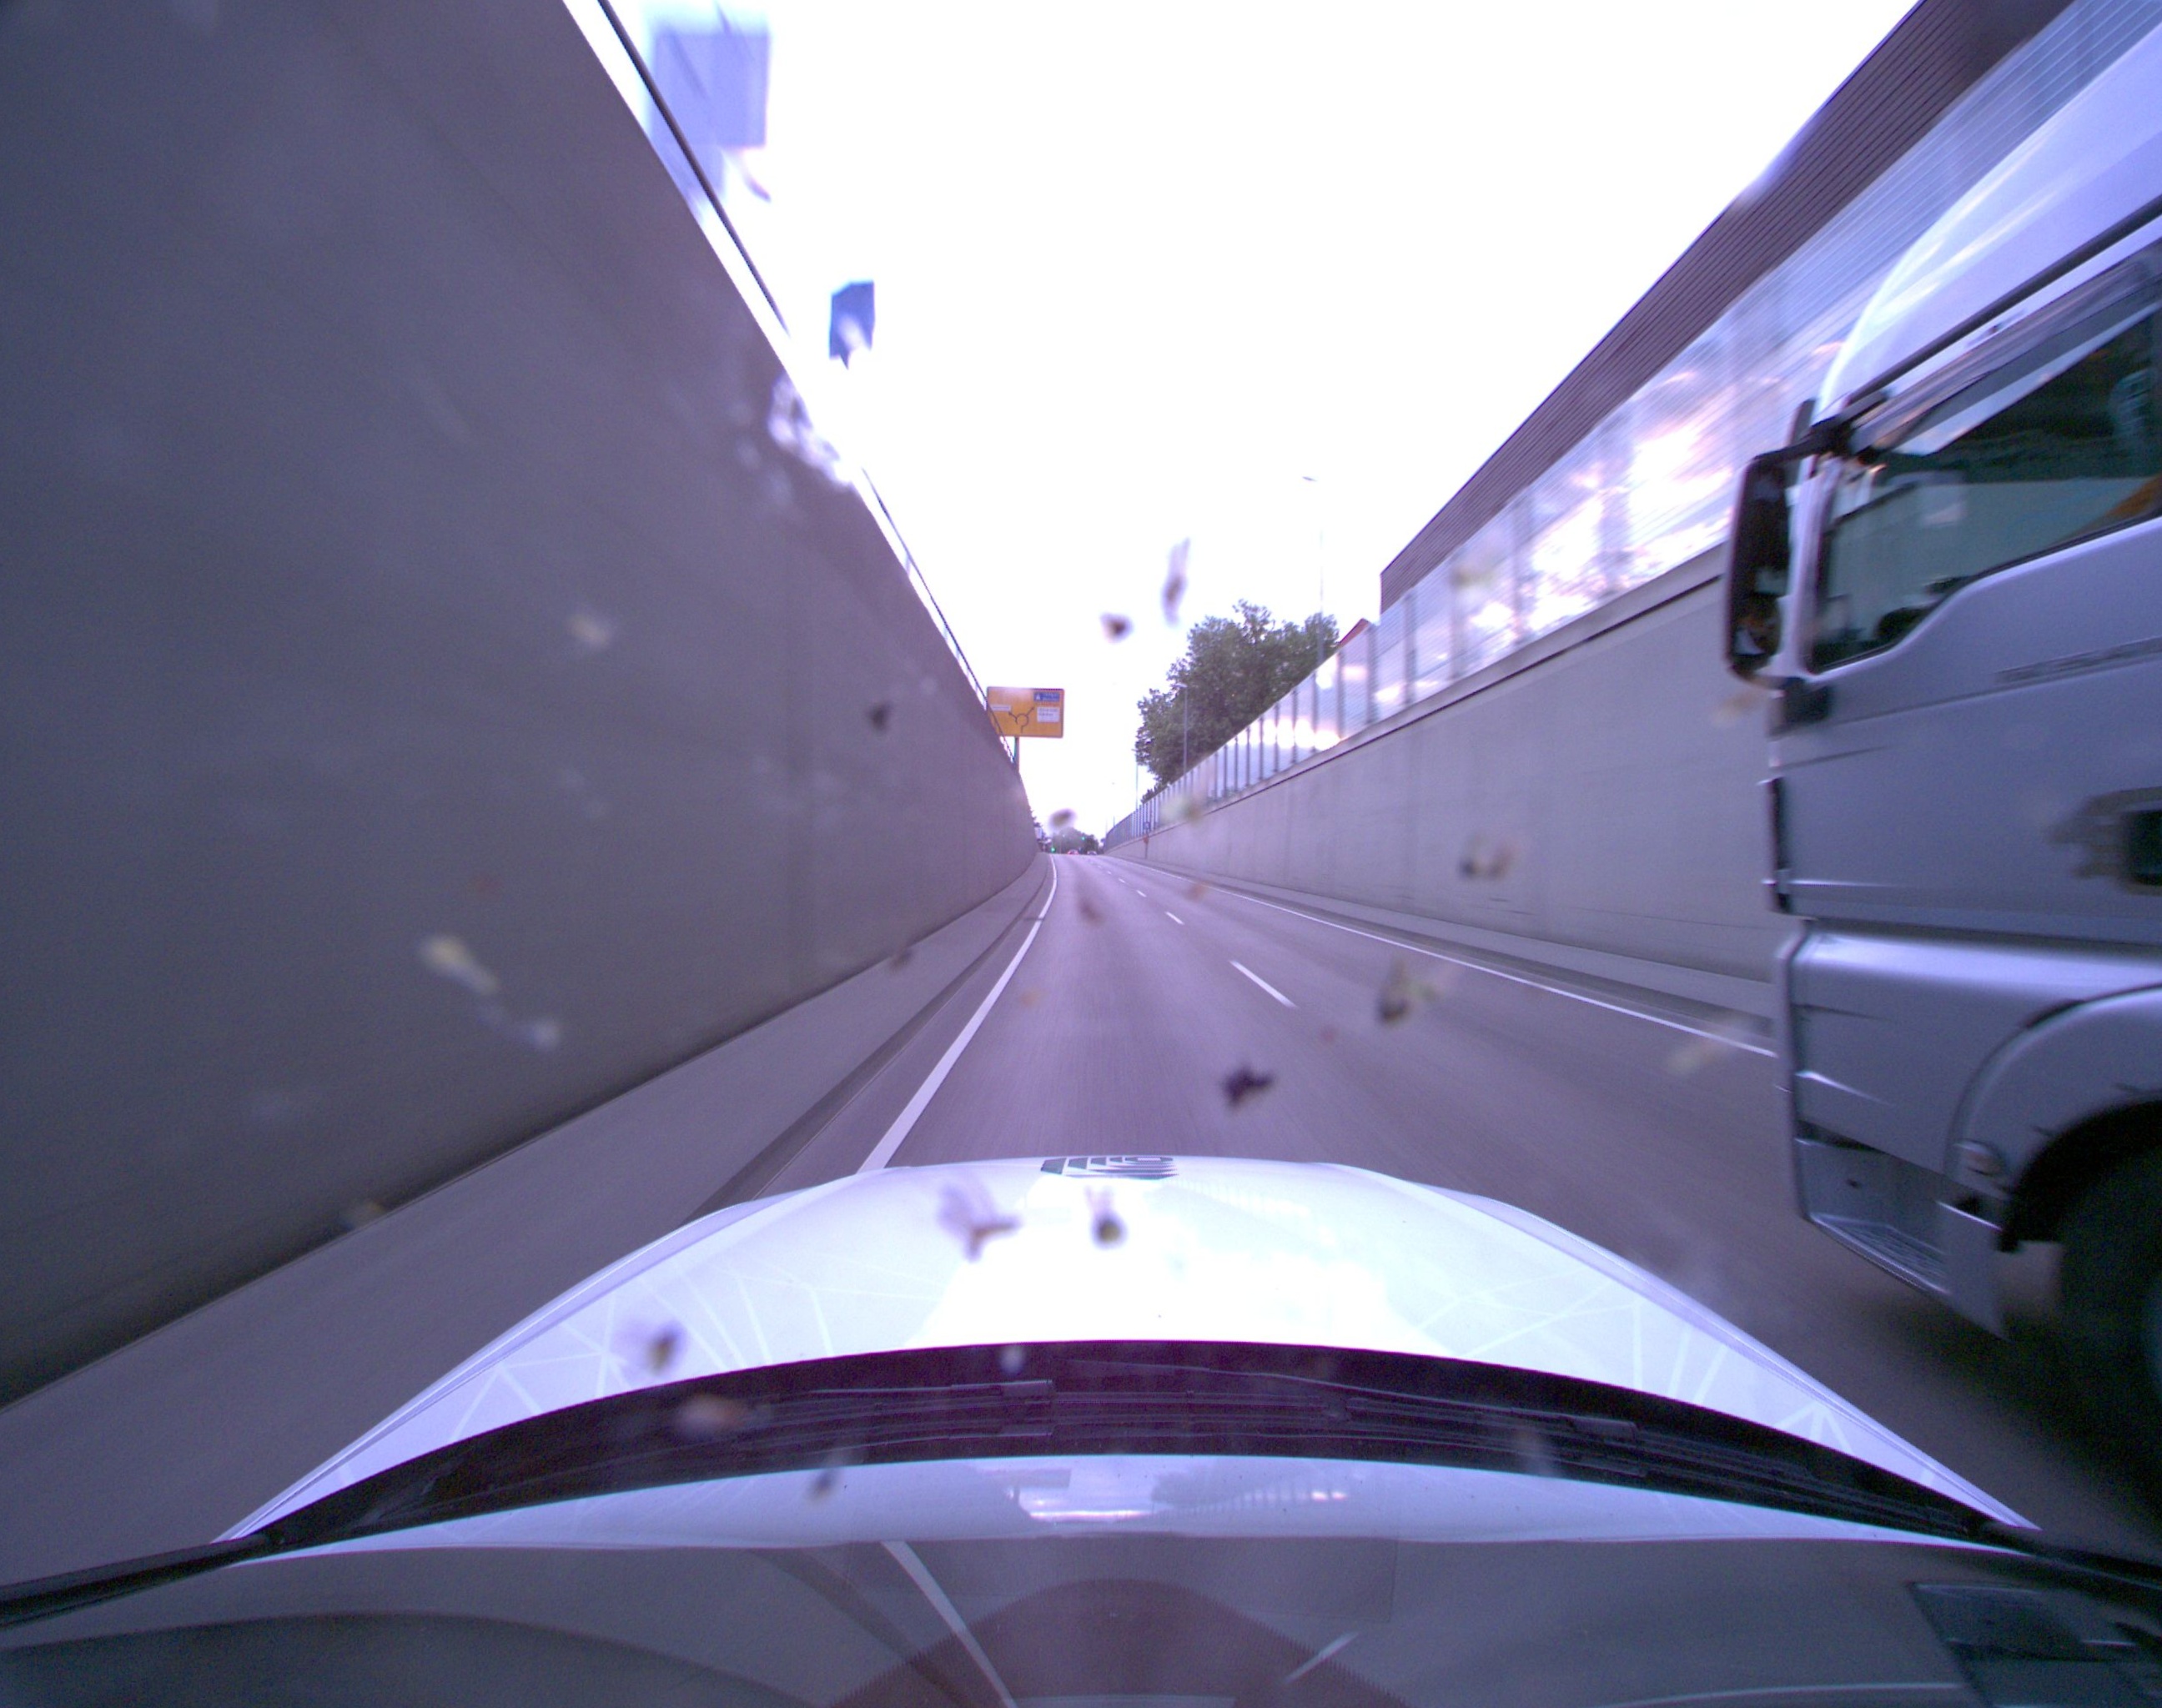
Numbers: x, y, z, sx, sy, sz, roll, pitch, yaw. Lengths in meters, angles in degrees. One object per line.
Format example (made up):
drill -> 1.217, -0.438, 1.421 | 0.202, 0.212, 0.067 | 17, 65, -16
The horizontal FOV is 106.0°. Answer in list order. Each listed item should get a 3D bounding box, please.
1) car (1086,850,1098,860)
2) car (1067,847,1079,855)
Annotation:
car -> 2.070, 0.198, 153.239 | 1.866, 1.732, 3.993 | 1, -1, -4
car -> -1.489, -0.494, 151.131 | 1.838, 1.389, 3.992 | 1, -1, -5
